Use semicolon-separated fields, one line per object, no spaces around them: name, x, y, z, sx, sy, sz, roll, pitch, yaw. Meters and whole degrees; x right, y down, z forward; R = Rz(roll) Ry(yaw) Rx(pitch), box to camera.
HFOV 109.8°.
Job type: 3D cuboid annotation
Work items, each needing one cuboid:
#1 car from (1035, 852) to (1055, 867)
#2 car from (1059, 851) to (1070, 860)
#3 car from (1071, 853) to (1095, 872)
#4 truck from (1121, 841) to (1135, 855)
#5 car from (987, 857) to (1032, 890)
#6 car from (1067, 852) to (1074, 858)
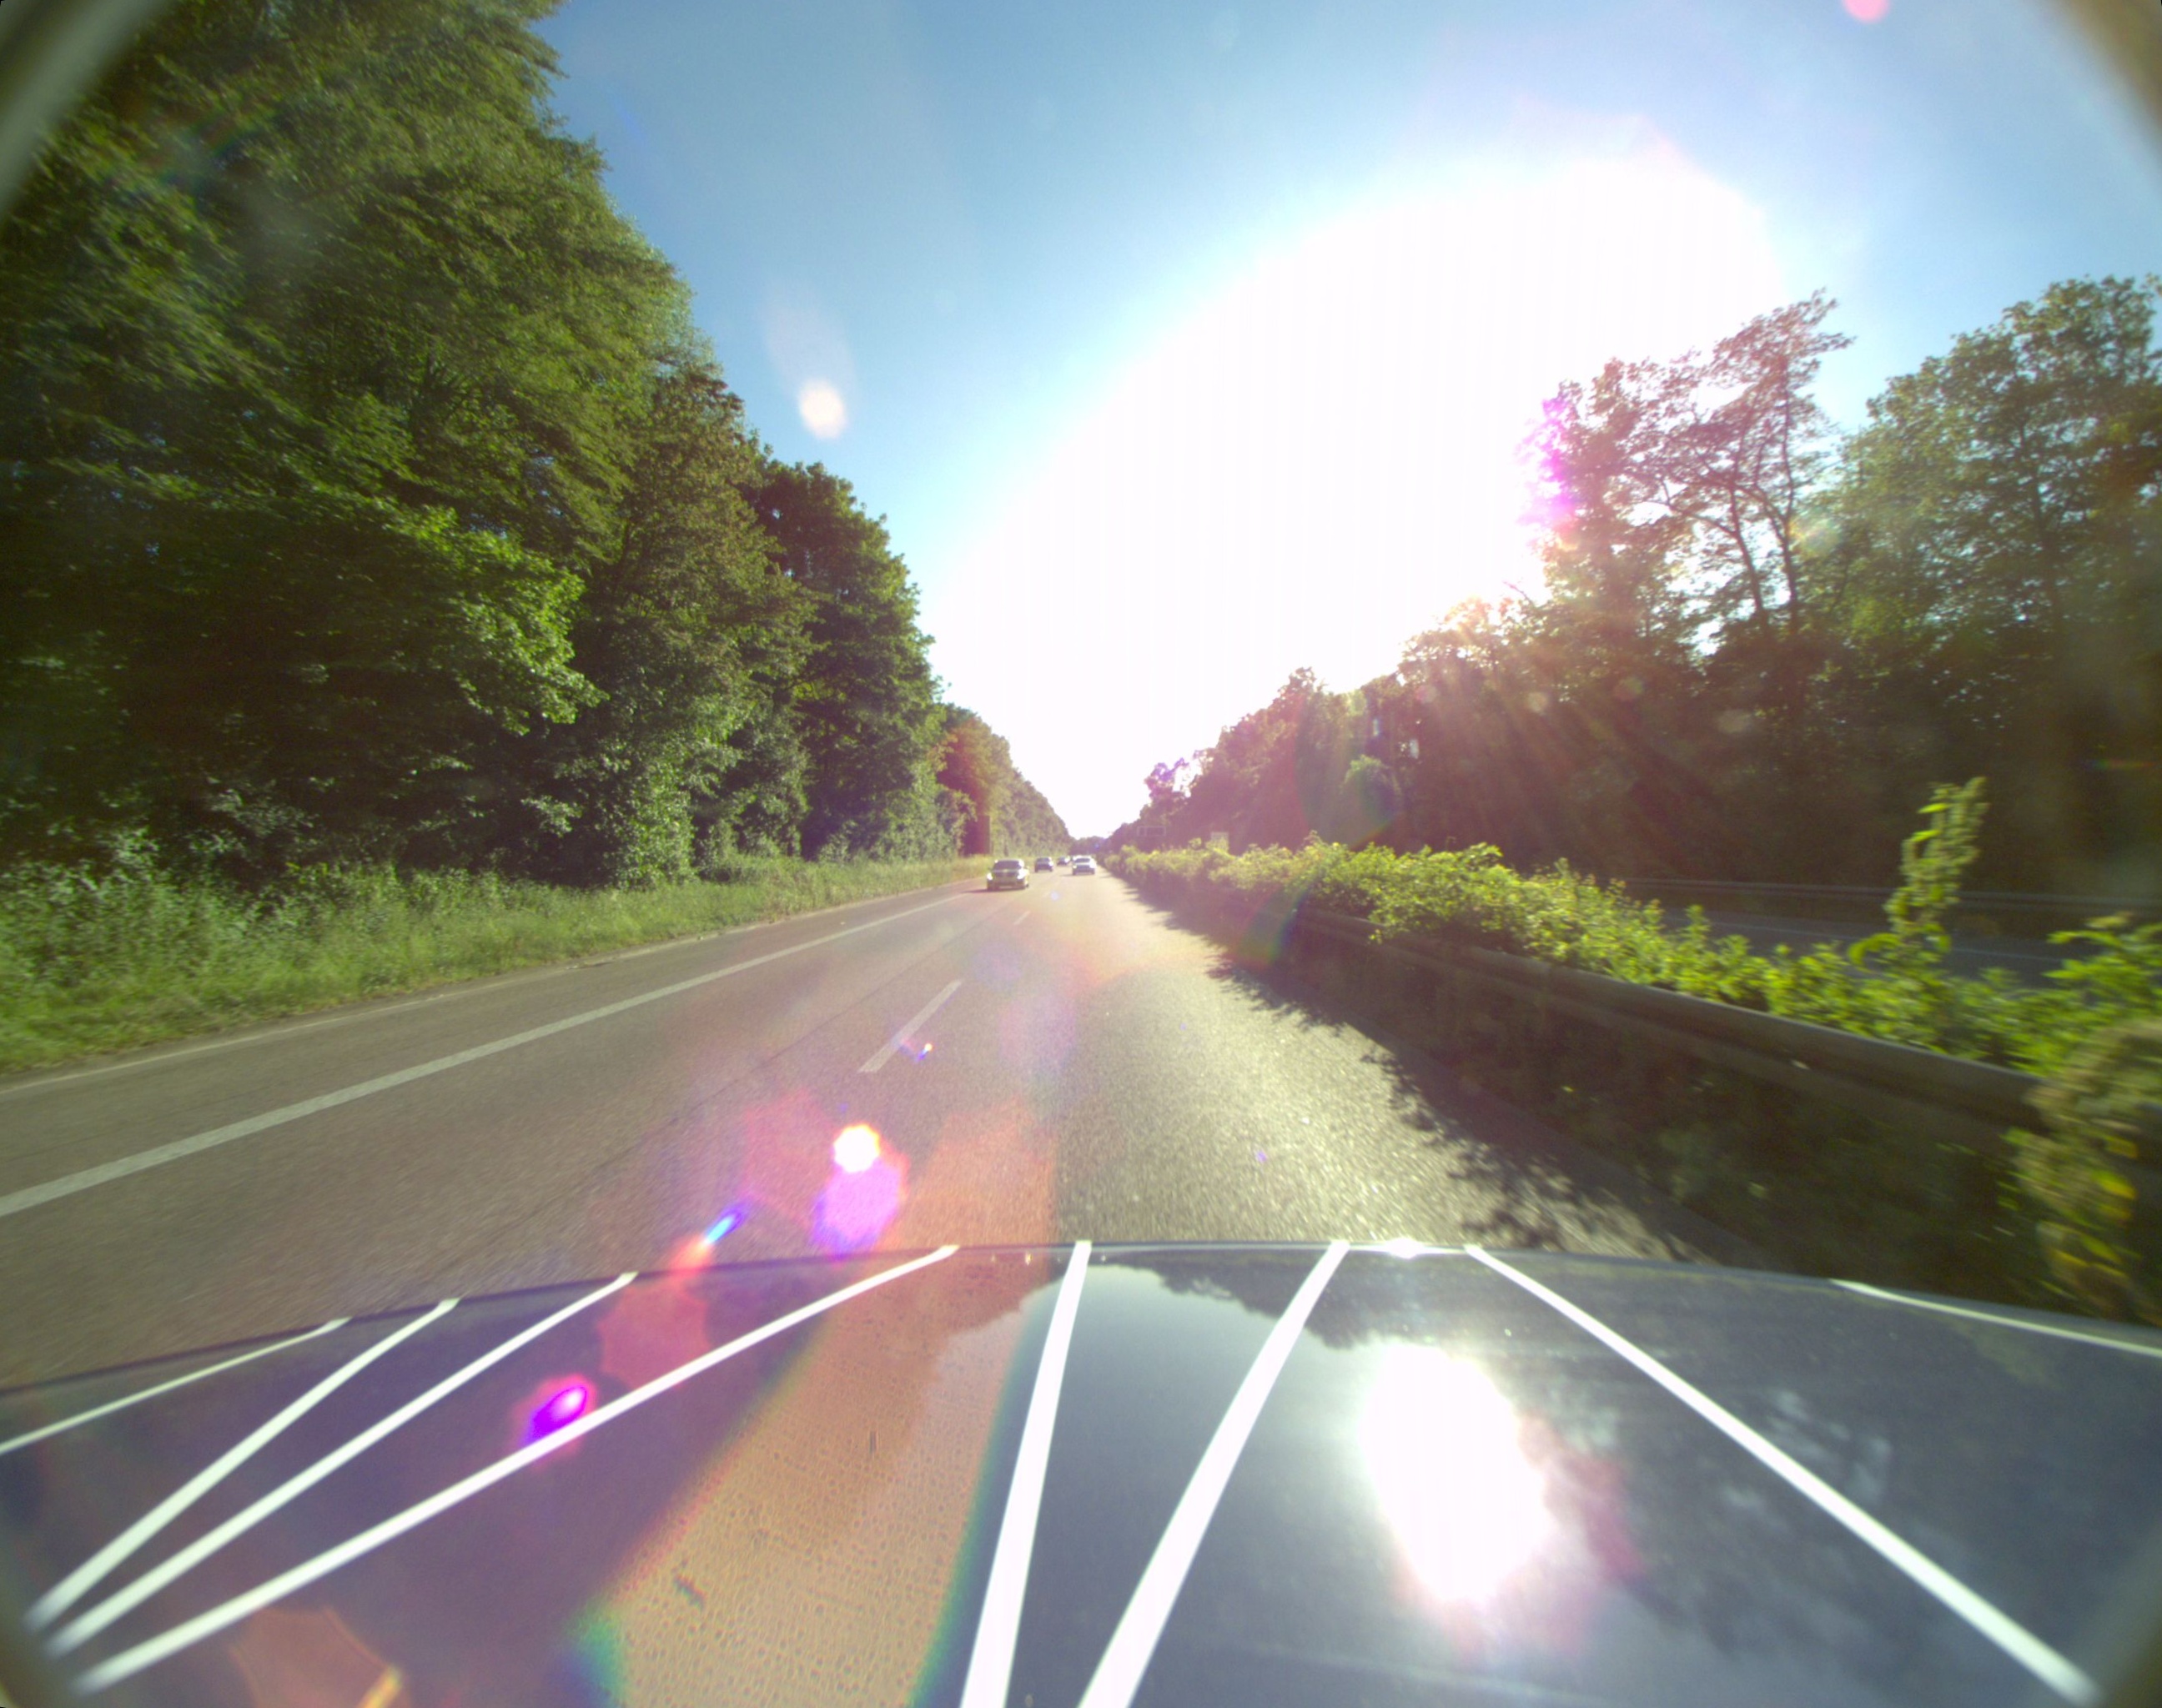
car;-3.619;0.517;77.241;1.795;1.440;3.877;-2;0;0
car;-2.699;0.178;127.424;1.795;1.440;3.877;-2;0;0
car;0.176;0.676;62.177;1.890;1.440;3.877;-2;0;1
truck;14.053;-1.753;227.048;3.251;3.989;14.449;-2;0;0
car;-3.472;0.913;37.562;1.795;1.440;3.877;-2;0;0
car;-2.836;0.231;204.918;1.795;1.440;3.877;-2;0;0
